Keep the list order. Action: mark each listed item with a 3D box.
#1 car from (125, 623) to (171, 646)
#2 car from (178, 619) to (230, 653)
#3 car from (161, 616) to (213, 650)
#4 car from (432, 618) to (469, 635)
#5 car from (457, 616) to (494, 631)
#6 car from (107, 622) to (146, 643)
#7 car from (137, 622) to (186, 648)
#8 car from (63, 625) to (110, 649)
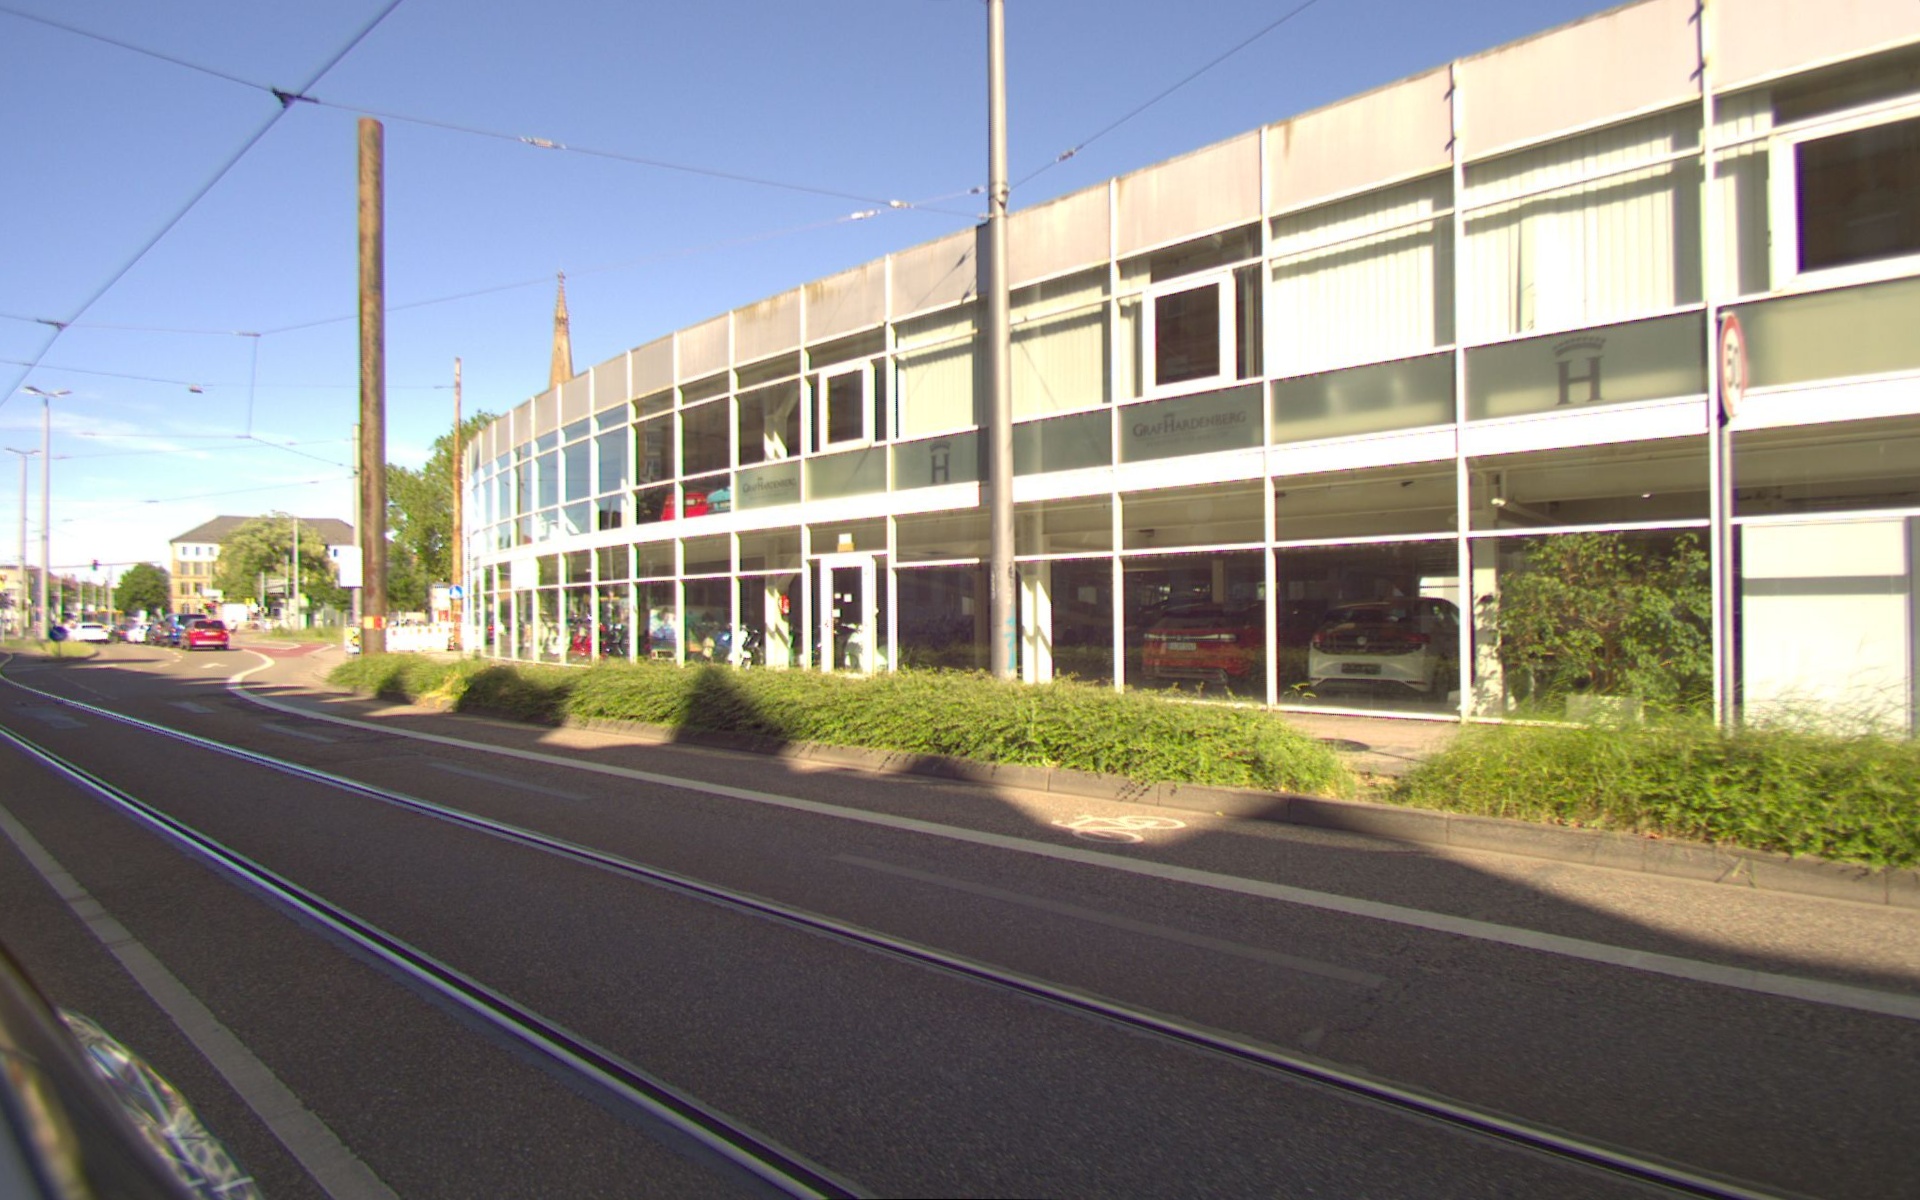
[{"bbox_3d":[-55.419,2.335,69.039,3.999,1.443,1.784,-1,2,42],"label":"car"},{"bbox_3d":[-40.700,1.887,54.447,1.778,1.732,4.421,0,-1,-43],"label":"car"},{"bbox_3d":[-45.575,1.903,59.632,4.166,1.948,1.783,-1,-1,44],"label":"car"},{"bbox_3d":[-64.144,3.322,127.402,3.932,1.765,2.006,-3,1,-30],"label":"car"},{"bbox_3d":[-53.971,2.613,112.884,1.724,1.510,3.987,-2,0,10],"label":"car"},{"bbox_3d":[-59.592,2.321,72.337,3.970,1.490,1.632,-1,-2,42],"label":"car"},{"bbox_3d":[-50.701,2.182,64.206,4.164,1.590,1.783,-1,-1,42],"label":"car"},{"bbox_3d":[-58.119,2.451,67.339,4.540,1.443,1.784,-1,2,42],"label":"car"}]
